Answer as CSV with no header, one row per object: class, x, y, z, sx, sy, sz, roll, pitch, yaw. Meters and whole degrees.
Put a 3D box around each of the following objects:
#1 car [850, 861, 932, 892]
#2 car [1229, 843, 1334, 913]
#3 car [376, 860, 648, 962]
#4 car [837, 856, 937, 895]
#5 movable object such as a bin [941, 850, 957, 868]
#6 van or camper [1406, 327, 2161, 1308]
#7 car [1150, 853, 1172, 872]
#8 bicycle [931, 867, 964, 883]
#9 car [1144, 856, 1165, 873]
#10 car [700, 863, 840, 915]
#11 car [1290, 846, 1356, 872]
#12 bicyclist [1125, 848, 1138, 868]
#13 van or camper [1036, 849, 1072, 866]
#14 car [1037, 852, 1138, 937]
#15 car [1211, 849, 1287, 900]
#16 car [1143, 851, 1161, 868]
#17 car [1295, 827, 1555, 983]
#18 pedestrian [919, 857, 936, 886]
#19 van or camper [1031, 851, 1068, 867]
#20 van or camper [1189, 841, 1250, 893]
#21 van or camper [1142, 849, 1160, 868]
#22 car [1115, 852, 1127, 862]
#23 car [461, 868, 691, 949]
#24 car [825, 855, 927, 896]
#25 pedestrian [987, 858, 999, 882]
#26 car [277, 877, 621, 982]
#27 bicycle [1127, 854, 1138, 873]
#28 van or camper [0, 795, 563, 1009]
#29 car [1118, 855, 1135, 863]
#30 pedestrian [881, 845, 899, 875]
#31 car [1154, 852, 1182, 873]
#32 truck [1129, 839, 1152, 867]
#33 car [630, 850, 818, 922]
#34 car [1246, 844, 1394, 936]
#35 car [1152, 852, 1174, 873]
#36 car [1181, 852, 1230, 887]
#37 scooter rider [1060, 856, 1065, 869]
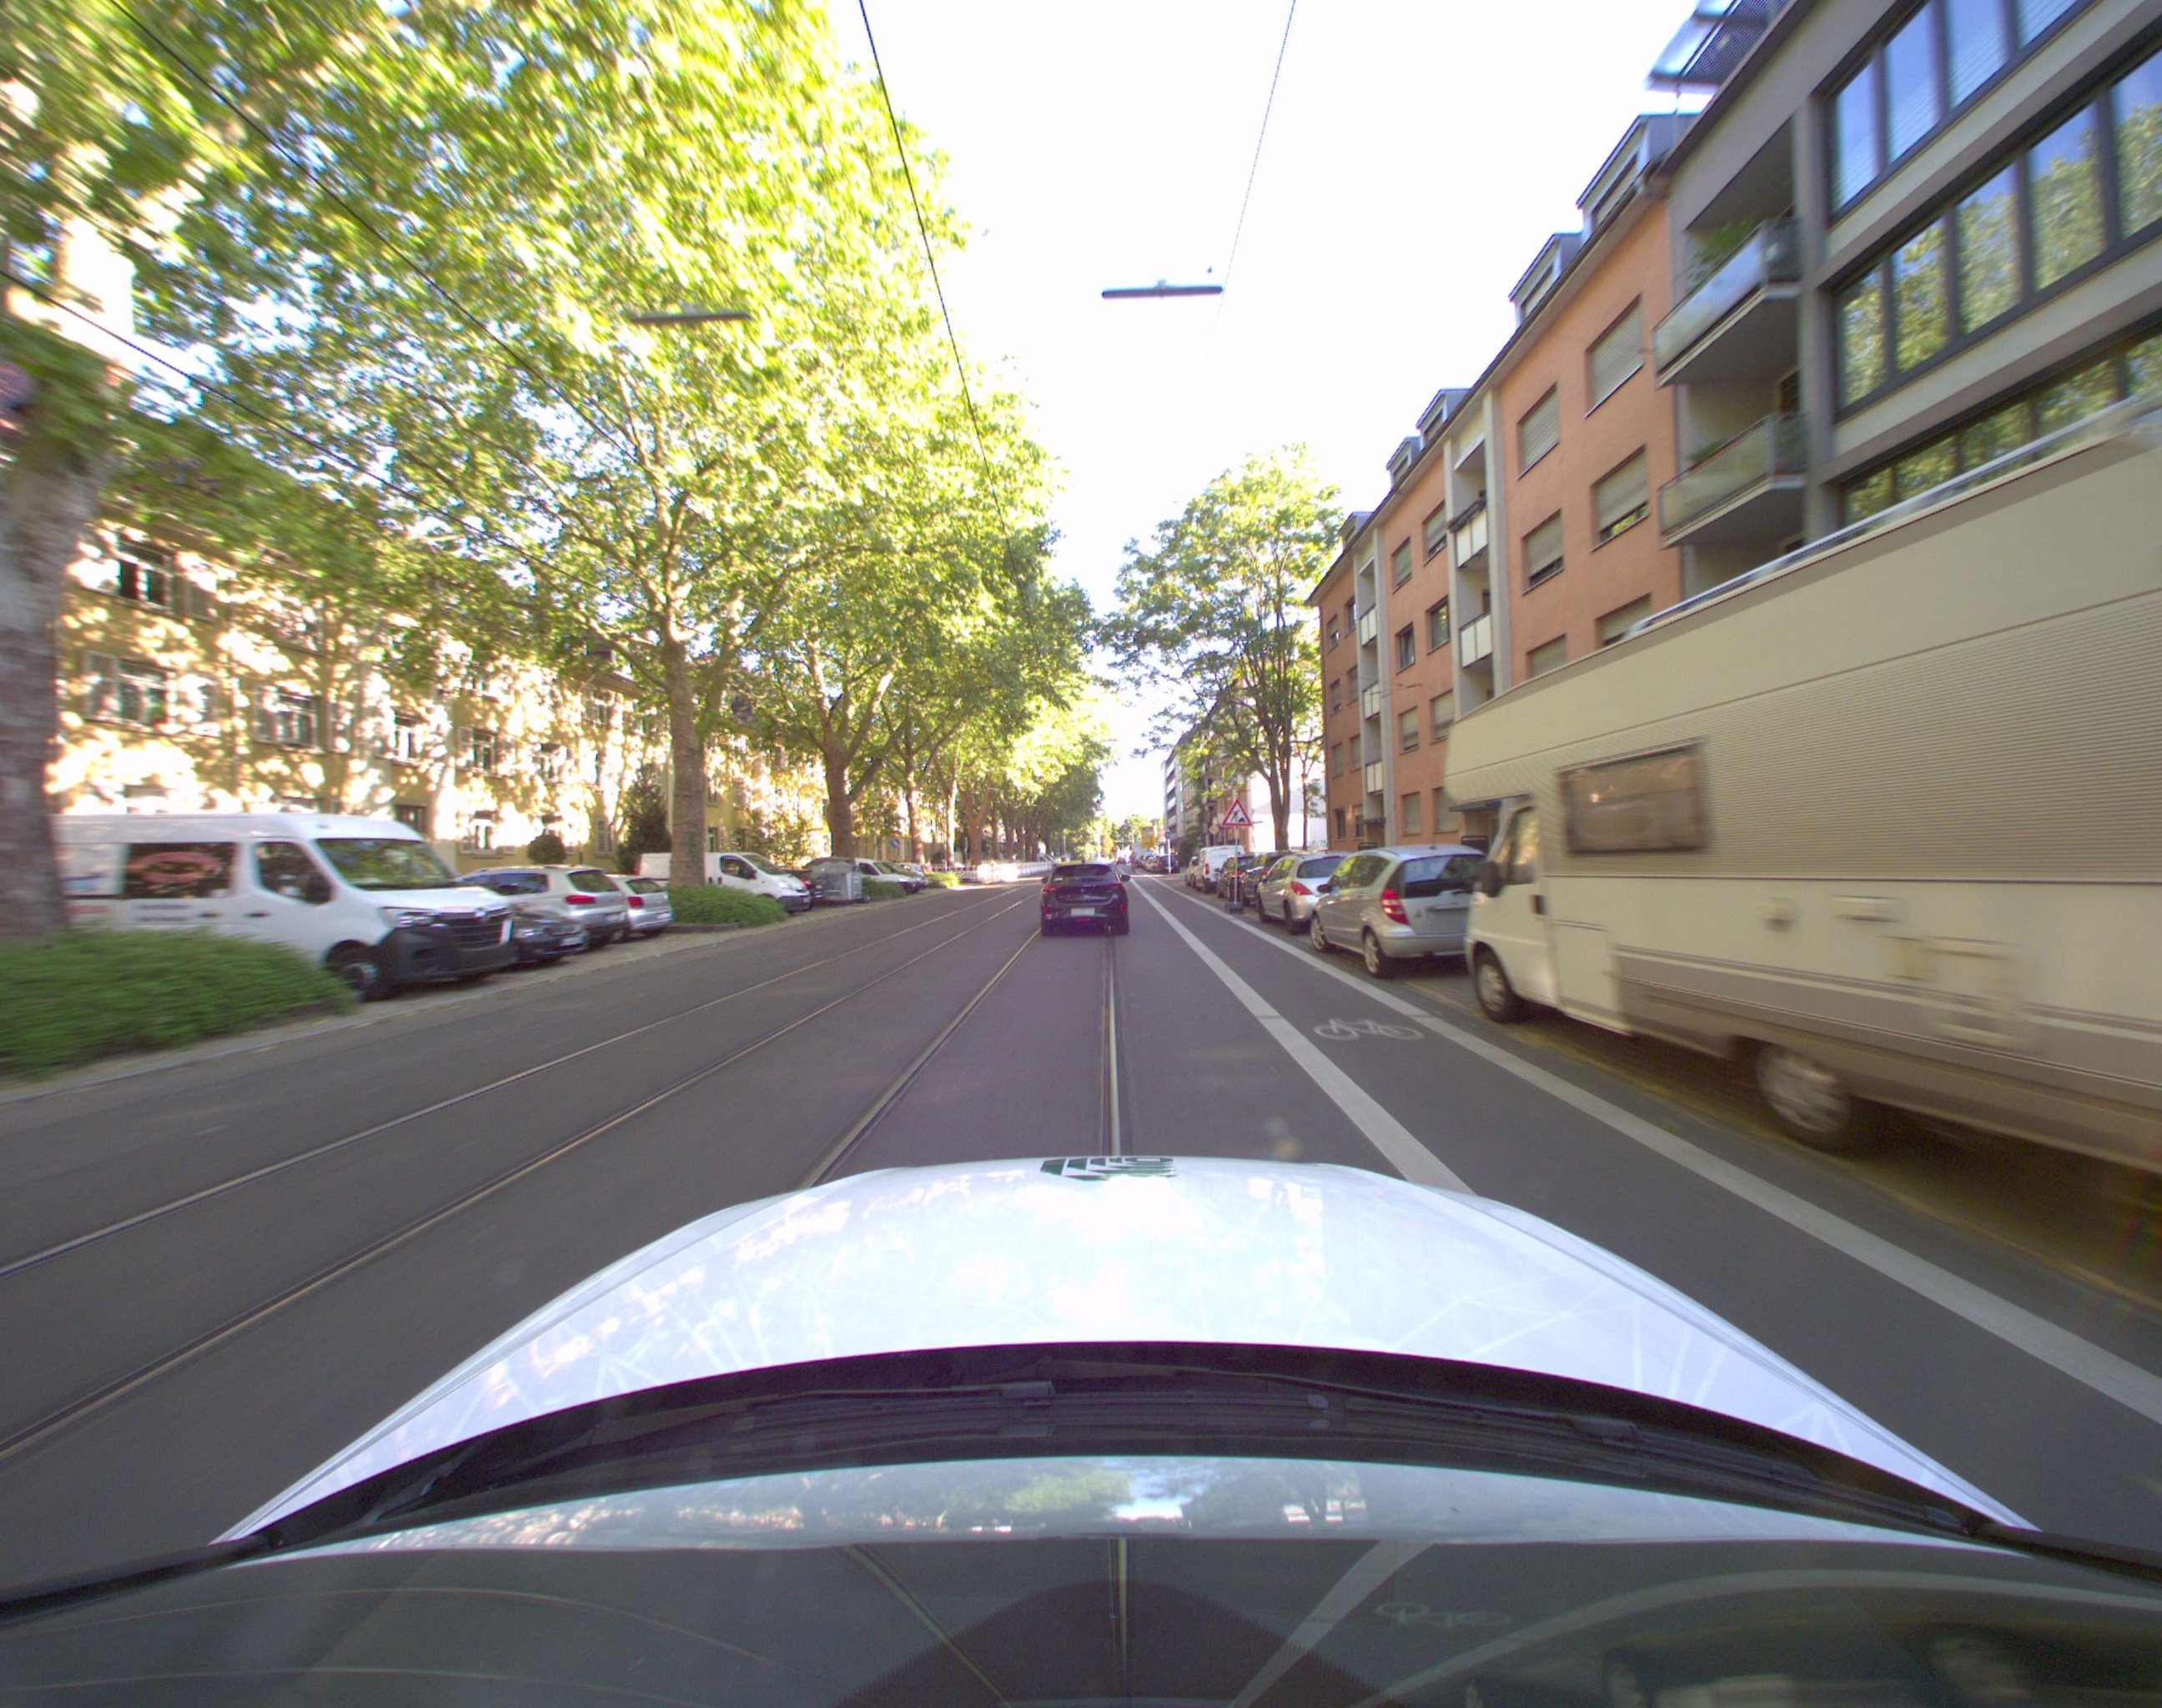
car,-10.182,1.186,43.795,3.832,1.498,1.863,-2,0,2
car,5.247,0.576,21.855,1.761,1.572,4.338,-4,0,1
car,-10.726,1.041,15.562,3.832,1.663,1.863,-2,0,2
car,-9.402,1.041,39.595,4.210,1.688,1.938,-2,0,8
movable object such as a bin,-13.854,0.526,85.545,1.328,1.869,2.008,-1,-1,2
van or camper,4.631,-0.145,5.245,2.454,3.064,6.268,-4,0,1
car,6.956,0.760,71.174,1.585,1.526,3.837,-4,-1,2
bicycle,-8.728,1.378,53.291,1.964,0.963,0.726,-2,0,2
car,6.911,0.956,76.854,1.653,1.399,4.741,-4,0,2
car,-10.249,1.120,27.023,3.832,1.498,1.863,-2,0,2
car,15.932,0.318,53.707,3.900,1.482,1.562,-2,2,0
bicyclist,4.375,0.357,70.929,1.085,1.647,1.401,-1,0,2
van or camper,-4.382,0.630,134.484,5.701,2.644,2.270,-1,-1,2
car,0.177,0.728,16.602,1.775,1.496,4.001,-1,0,1
car,5.457,0.631,26.932,1.699,1.473,4.169,-2,0,2
car,7.109,0.559,81.852,1.653,1.580,3.591,-3,0,2
car,4.400,0.573,11.222,1.786,1.628,4.278,-4,0,1
pedestrian,-9.364,1.057,49.787,0.819,1.745,0.797,-1,-1,2
van or camper,-4.795,0.769,125.136,5.475,2.379,2.273,-1,-1,5
van or camper,5.509,0.498,32.912,1.748,1.864,4.832,-2,0,2
van or camper,7.429,0.421,86.352,1.662,1.883,4.213,-3,0,2
car,7.393,0.579,149.578,1.986,1.695,4.741,-4,0,1
car,-10.990,1.155,17.914,3.832,1.498,1.863,-2,0,2
car,-9.338,0.980,37.307,4.181,1.757,1.741,-1,0,3
pedestrian,-6.053,1.105,56.010,0.714,1.669,0.779,-1,-1,2
car,-10.202,1.186,13.372,4.248,1.398,1.754,-2,0,2
bicycle,4.487,0.811,70.992,0.912,1.561,3.407,-1,0,3
van or camper,-10.623,0.596,11.211,5.368,2.516,2.446,-1,0,2
car,10.004,1.124,178.924,1.927,1.695,4.284,-4,0,-27
pedestrian,-11.501,0.359,49.046,0.819,1.745,0.797,-1,-1,2
car,6.653,0.632,62.468,1.727,1.462,3.917,-4,0,1
truck,7.582,-0.085,104.222,2.528,3.338,7.199,-4,-1,2
car,-10.488,0.899,24.193,4.644,1.945,1.960,-1,0,-2
car,4.707,0.648,16.722,1.781,1.522,4.323,-4,0,1
car,6.648,0.700,66.351,1.520,1.590,3.754,-1,-1,2
car,5.745,0.689,37.974,1.699,1.473,4.002,-2,0,2
scooter rider,-2.678,1.218,118.610,0.647,1.957,0.624,-1,-1,2
